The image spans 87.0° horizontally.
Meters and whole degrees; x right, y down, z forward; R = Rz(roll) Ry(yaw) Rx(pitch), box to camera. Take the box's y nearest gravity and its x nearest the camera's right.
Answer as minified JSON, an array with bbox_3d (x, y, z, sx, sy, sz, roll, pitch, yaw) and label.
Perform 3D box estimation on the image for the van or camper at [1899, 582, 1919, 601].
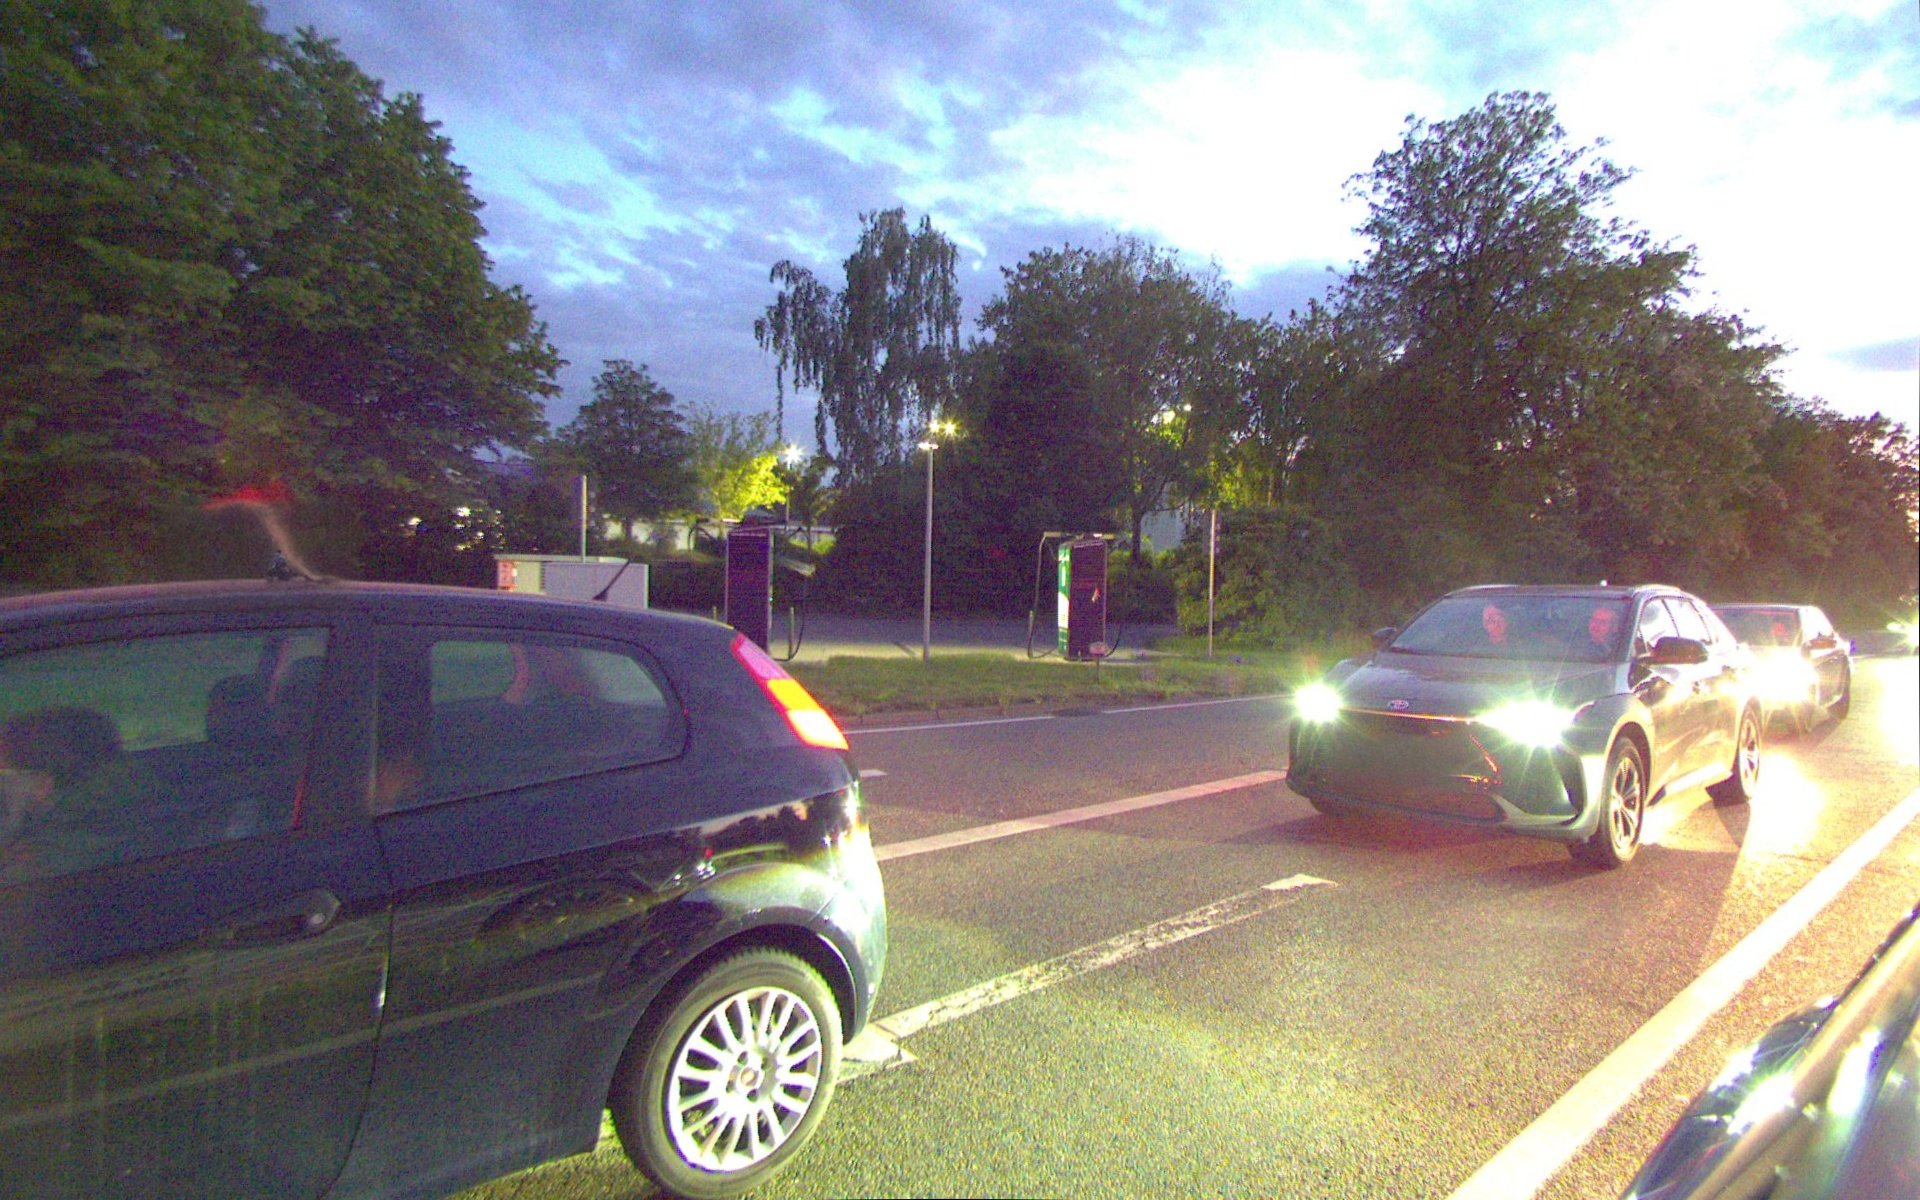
[{"bbox_3d":[164.781,-1.402,171.405,3.895,3.163,9.901,2,2,14],"label":"van or camper"}]

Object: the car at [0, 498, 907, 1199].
[{"bbox_3d":[-2.069,0.606,2.206,3.649,1.556,1.662,0,1,-40],"label":"car"}]

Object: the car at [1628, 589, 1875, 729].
[{"bbox_3d":[9.723,0.628,12.344,3.688,1.431,1.621,1,1,-40],"label":"car"}]

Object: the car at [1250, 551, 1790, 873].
[{"bbox_3d":[4.068,0.578,7.066,4.223,1.577,1.901,1,-1,-40],"label":"car"}]
